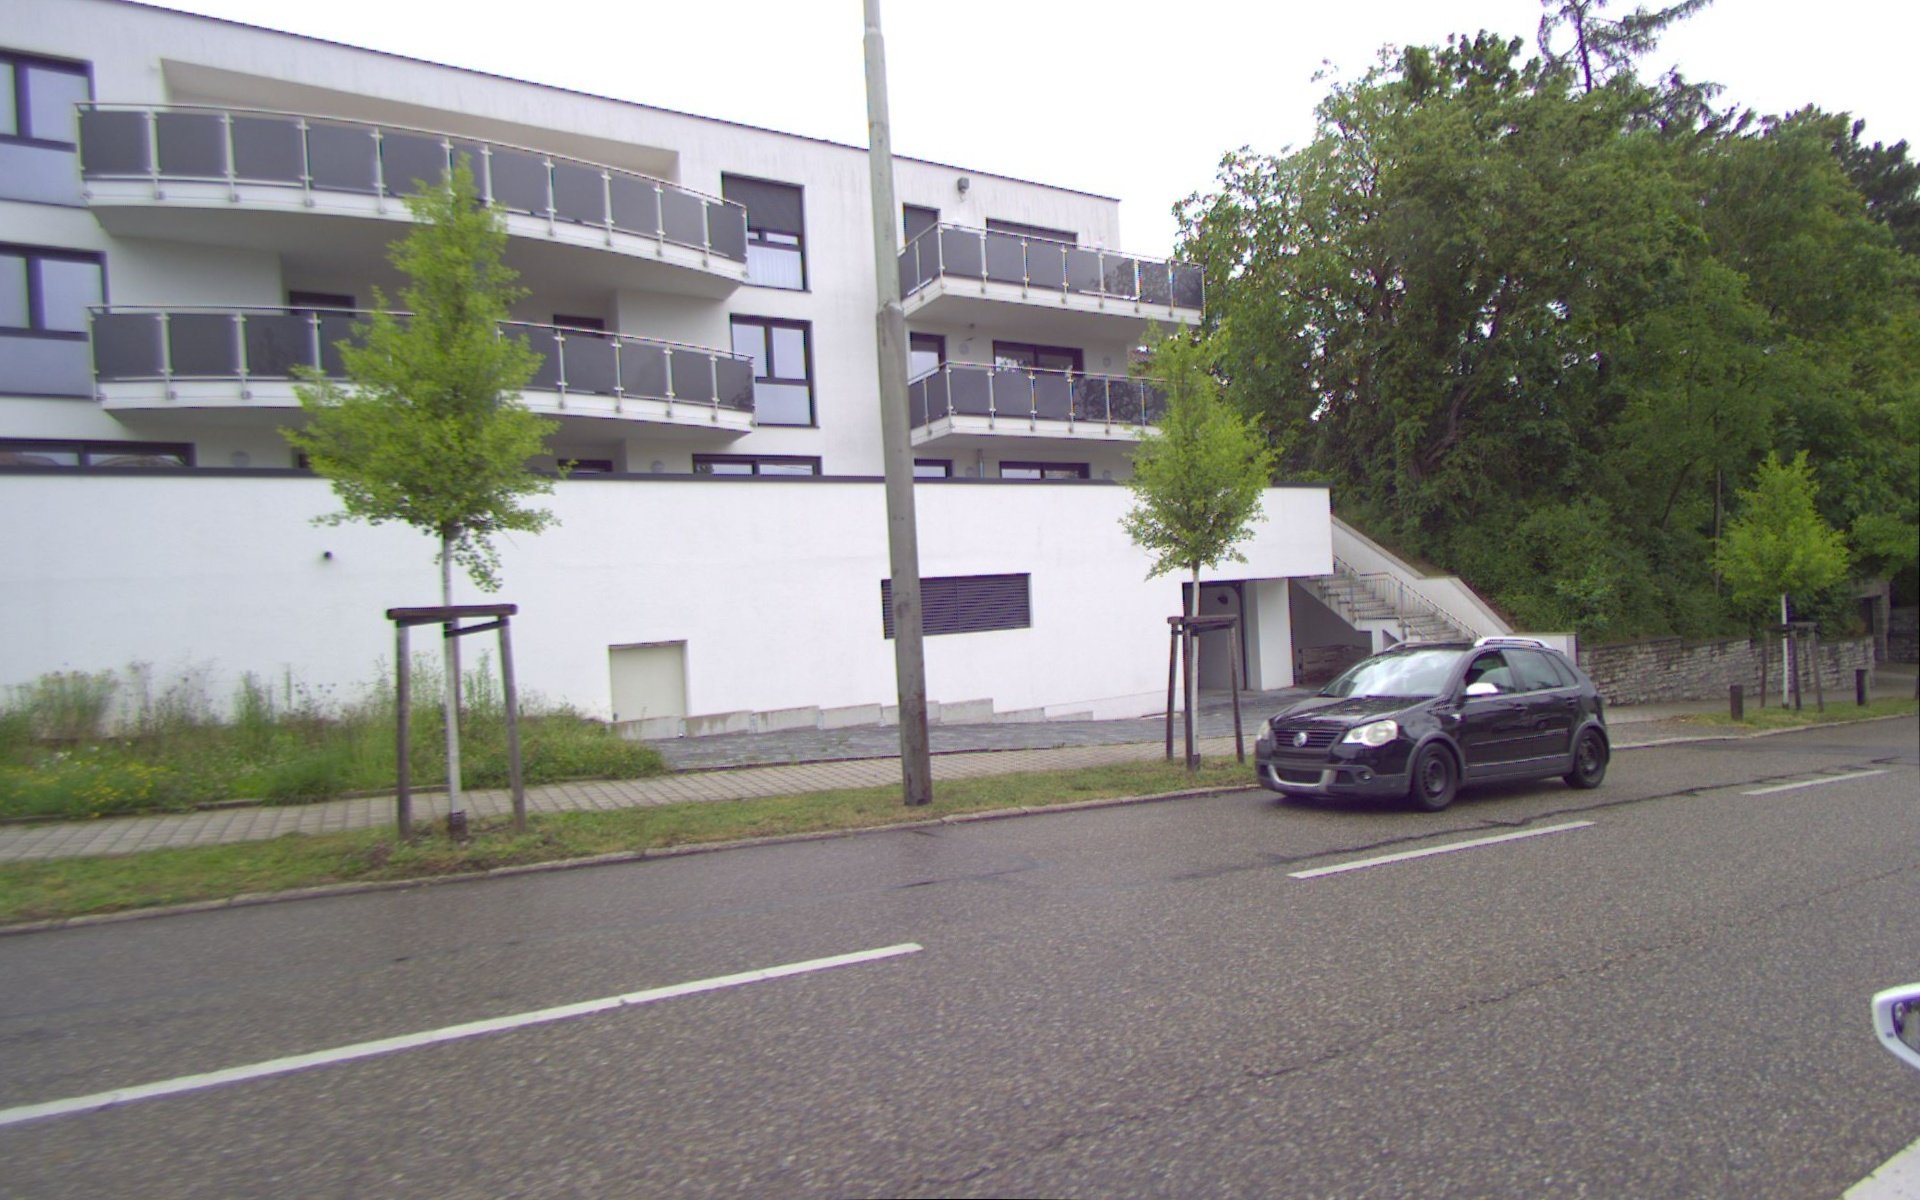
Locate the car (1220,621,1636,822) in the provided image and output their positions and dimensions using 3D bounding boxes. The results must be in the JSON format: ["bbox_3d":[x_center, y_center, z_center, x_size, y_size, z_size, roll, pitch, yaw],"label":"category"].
[{"bbox_3d":[4.551,1.051,9.670,3.874,1.569,1.737,1,-5,-32],"label":"car"}]
